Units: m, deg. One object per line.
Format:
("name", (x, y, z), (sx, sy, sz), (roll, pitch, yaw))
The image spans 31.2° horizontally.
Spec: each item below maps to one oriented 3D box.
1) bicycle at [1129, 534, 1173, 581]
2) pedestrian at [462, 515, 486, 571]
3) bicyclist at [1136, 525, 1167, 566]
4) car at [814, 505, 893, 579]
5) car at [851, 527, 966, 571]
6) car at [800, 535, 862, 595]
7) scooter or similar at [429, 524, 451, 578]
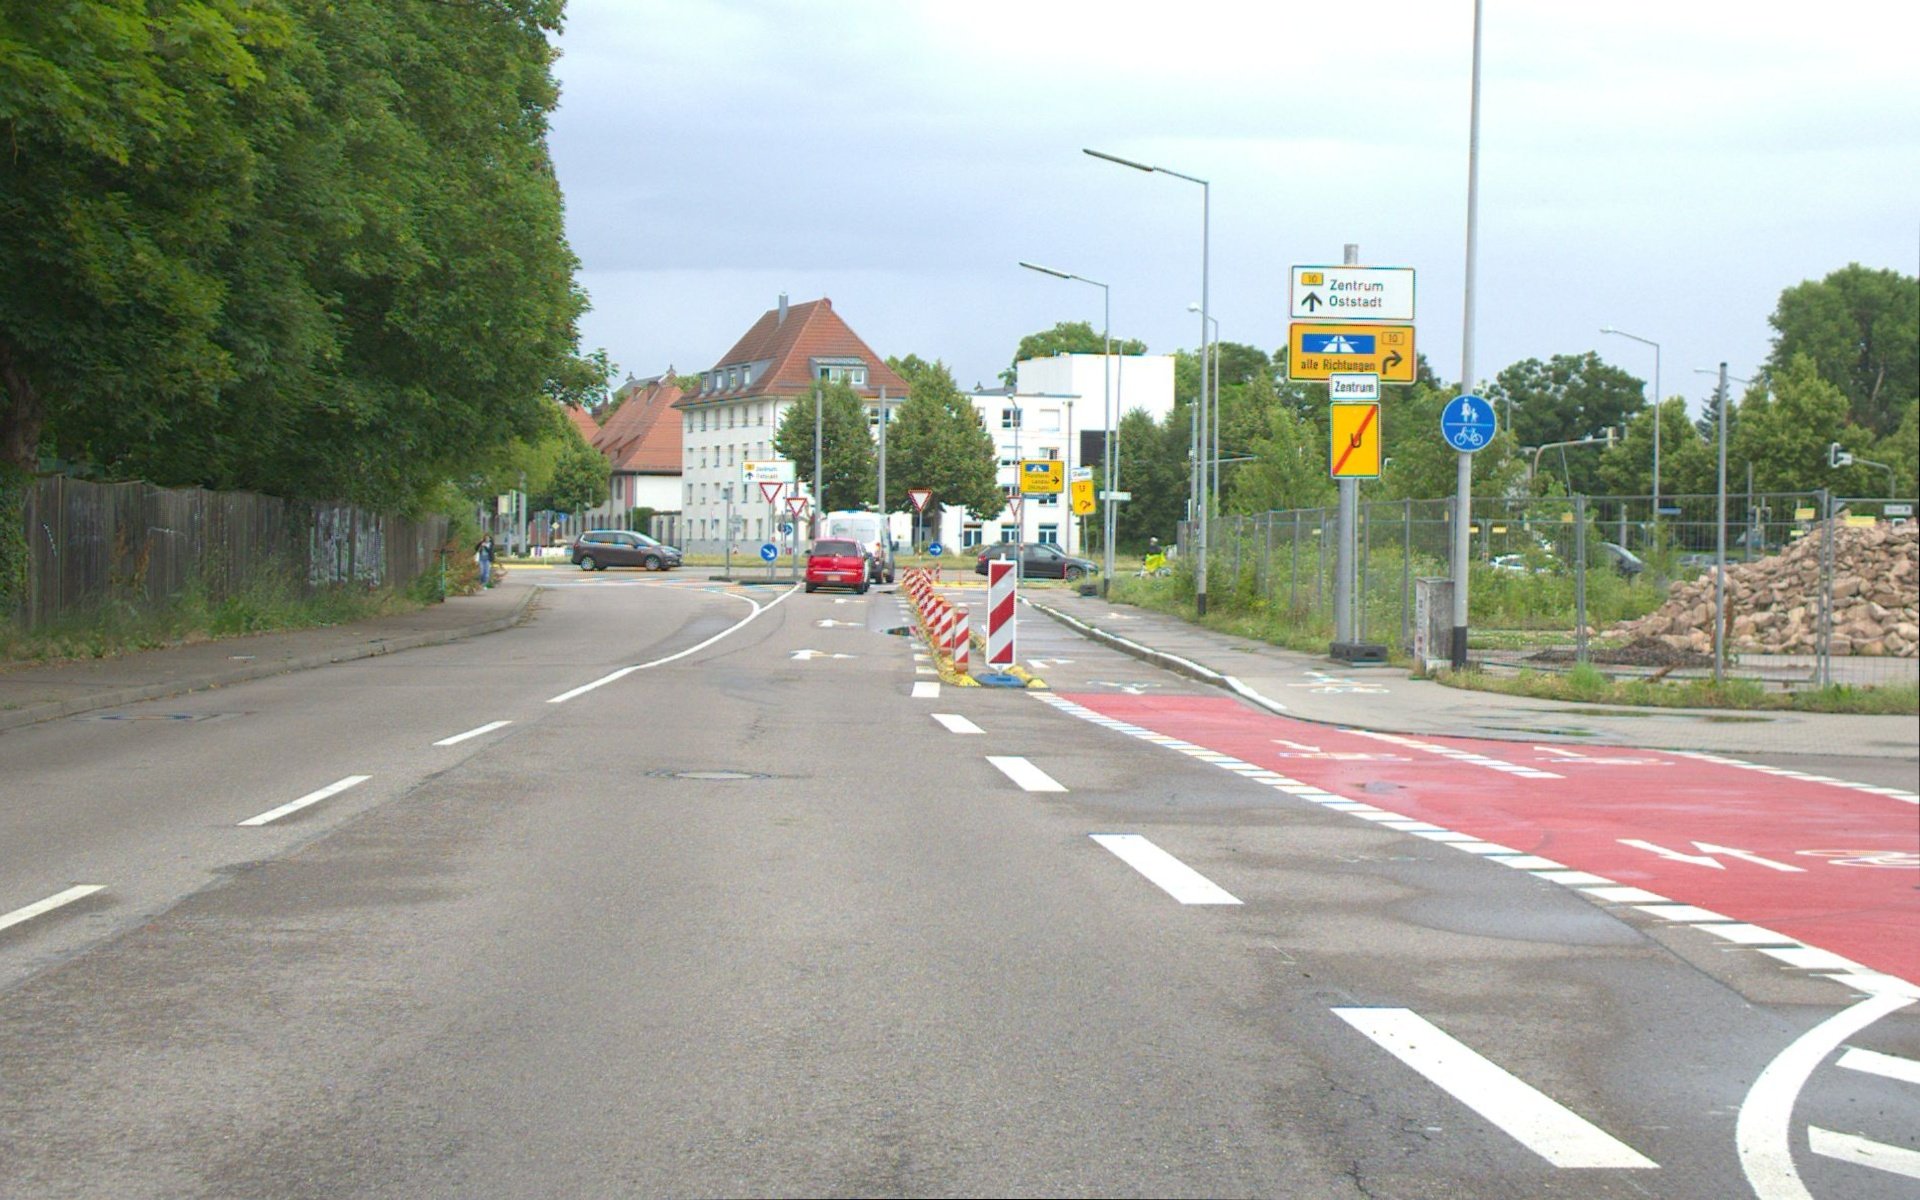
("bicycle", (6.590, -1.455, 118.452), (1.477, 1.606, 0.606), (0, 1, 2))
("pedestrian", (-13.397, -1.570, 94.751), (0.612, 1.524, 0.724), (0, 1, -6))
("bicyclist", (6.599, -1.867, 118.443), (1.062, 1.396, 0.615), (0, 1, 2))
("car", (-3.773, -2.070, 122.609), (2.195, 2.531, 4.962), (2, 1, 5))
("car", (-2.186, -2.181, 145.187), (4.604, 1.789, 2.110), (2, 2, 41))
("car", (-3.690, -1.030, 98.990), (1.673, 1.635, 3.627), (2, 1, -1))
("scooter or similar", (-11.505, -1.090, 76.059), (0.422, 1.166, 1.304), (0, 1, -7))
